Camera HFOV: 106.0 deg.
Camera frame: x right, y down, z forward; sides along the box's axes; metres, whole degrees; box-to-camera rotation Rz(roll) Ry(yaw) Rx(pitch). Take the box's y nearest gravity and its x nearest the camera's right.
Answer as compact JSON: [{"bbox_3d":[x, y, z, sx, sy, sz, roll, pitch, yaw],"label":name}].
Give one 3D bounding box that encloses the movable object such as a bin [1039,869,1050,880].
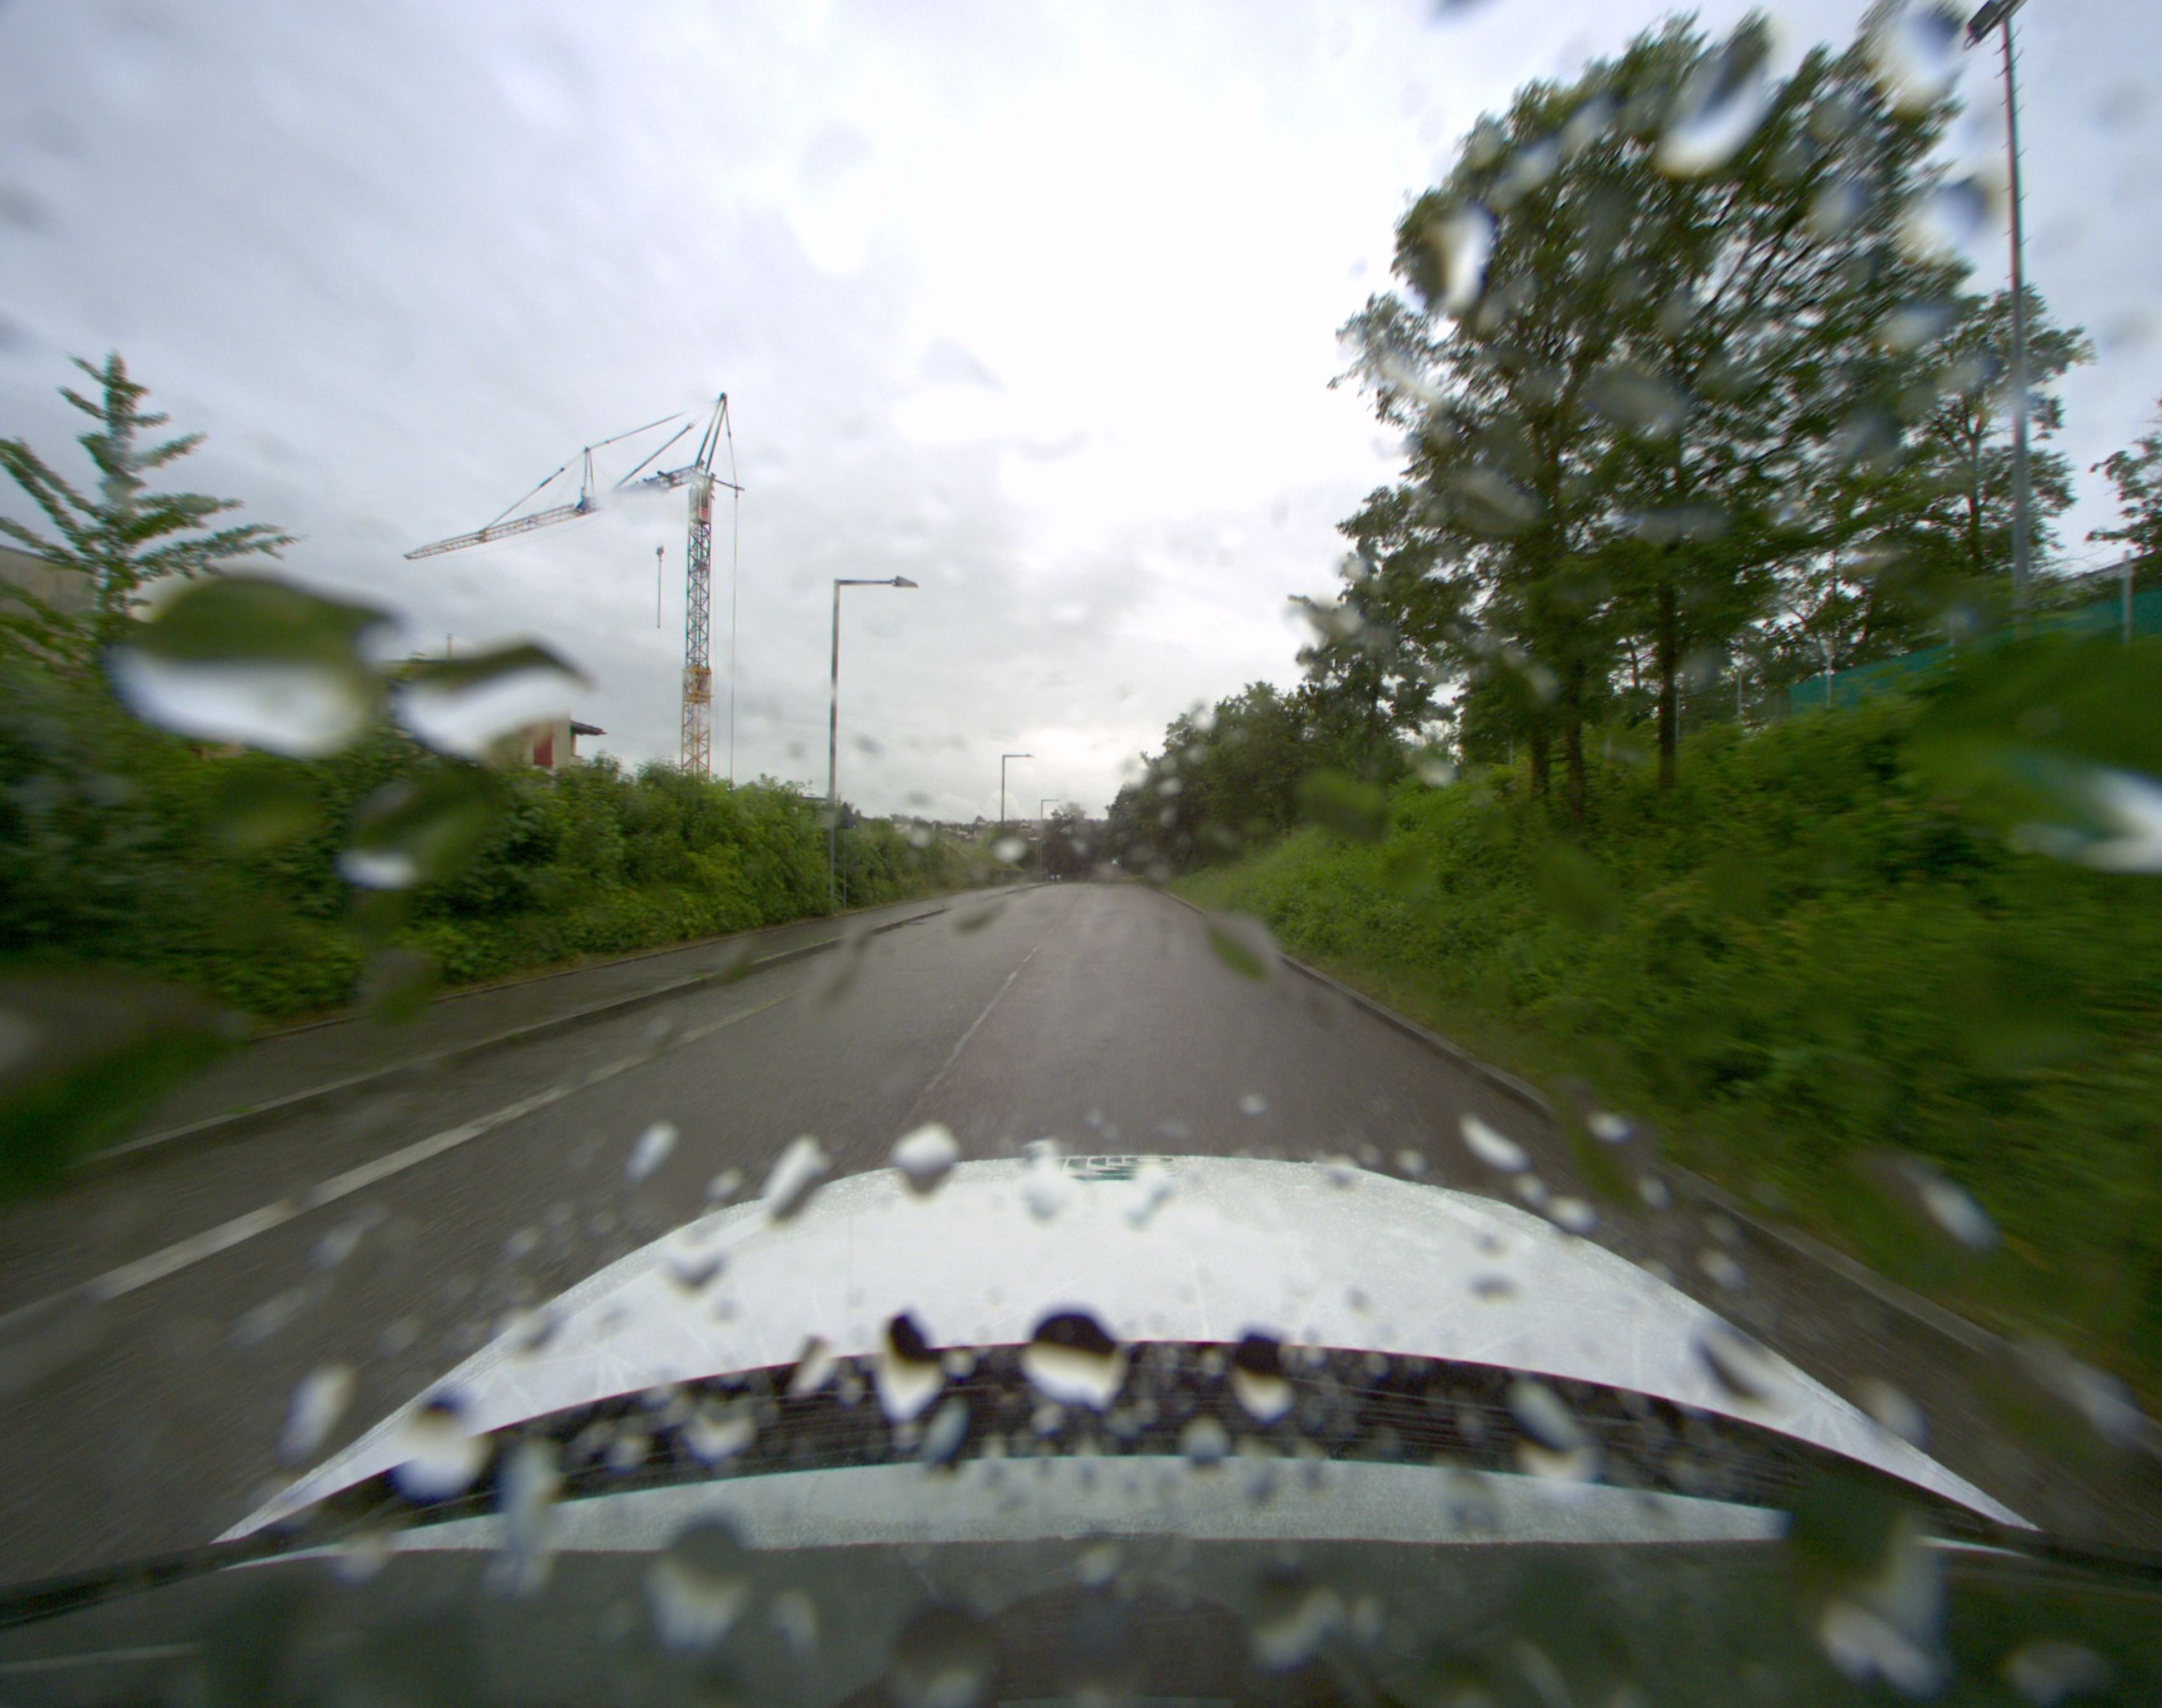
[{"bbox_3d":[-4.469,2.542,99.927,1.130,1.339,1.394,3,-2,-8],"label":"movable object such as a bin"}]
